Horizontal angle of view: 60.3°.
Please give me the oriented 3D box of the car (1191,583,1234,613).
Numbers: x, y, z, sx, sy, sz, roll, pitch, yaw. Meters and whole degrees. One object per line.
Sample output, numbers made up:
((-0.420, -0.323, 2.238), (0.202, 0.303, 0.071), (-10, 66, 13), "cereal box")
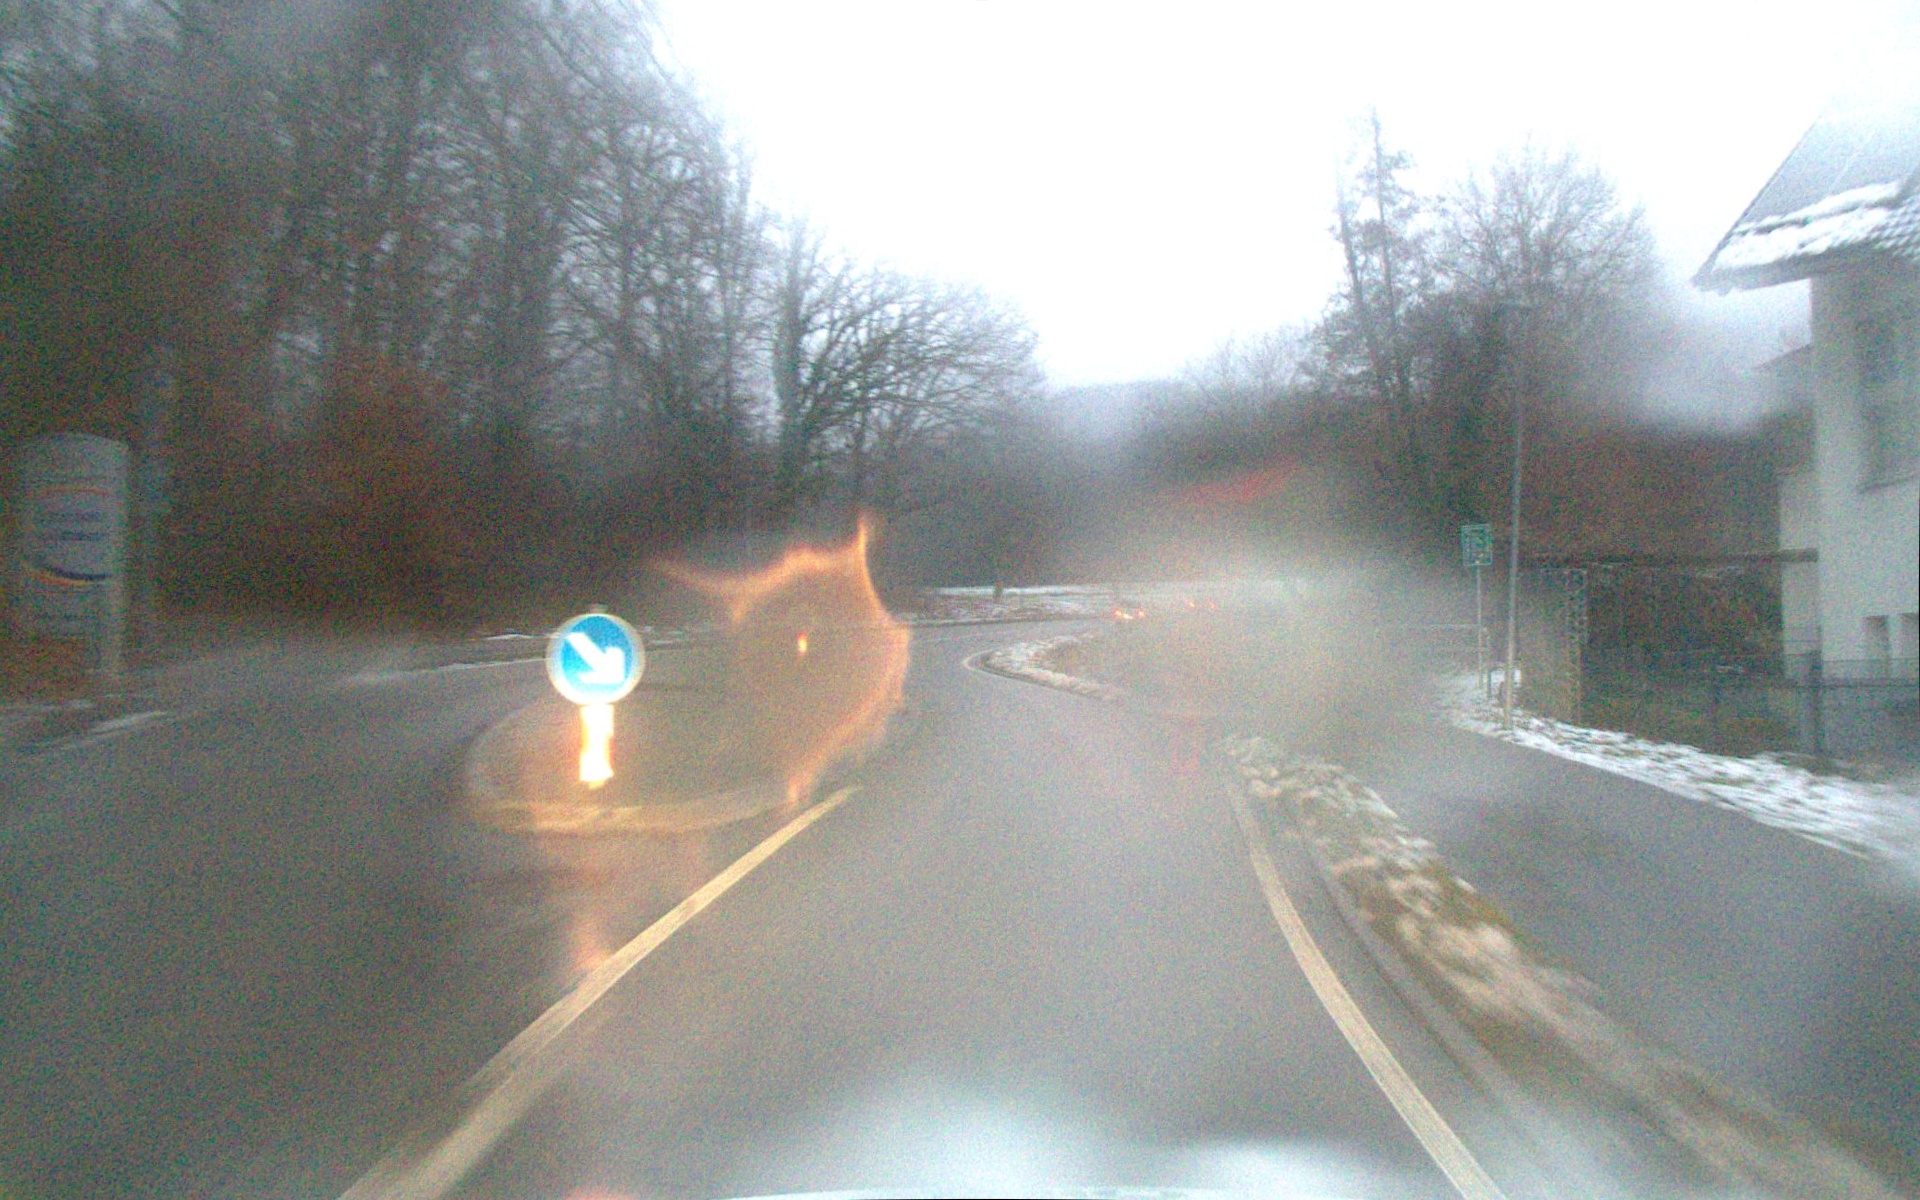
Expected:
((15.056, -0.136, 98.416), (1.892, 1.705, 4.002), (1, 0, 19), "car")

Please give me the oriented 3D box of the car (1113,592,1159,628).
((9.240, 0.500, 86.548), (1.892, 1.812, 4.003), (0, 0, 13), "car")
